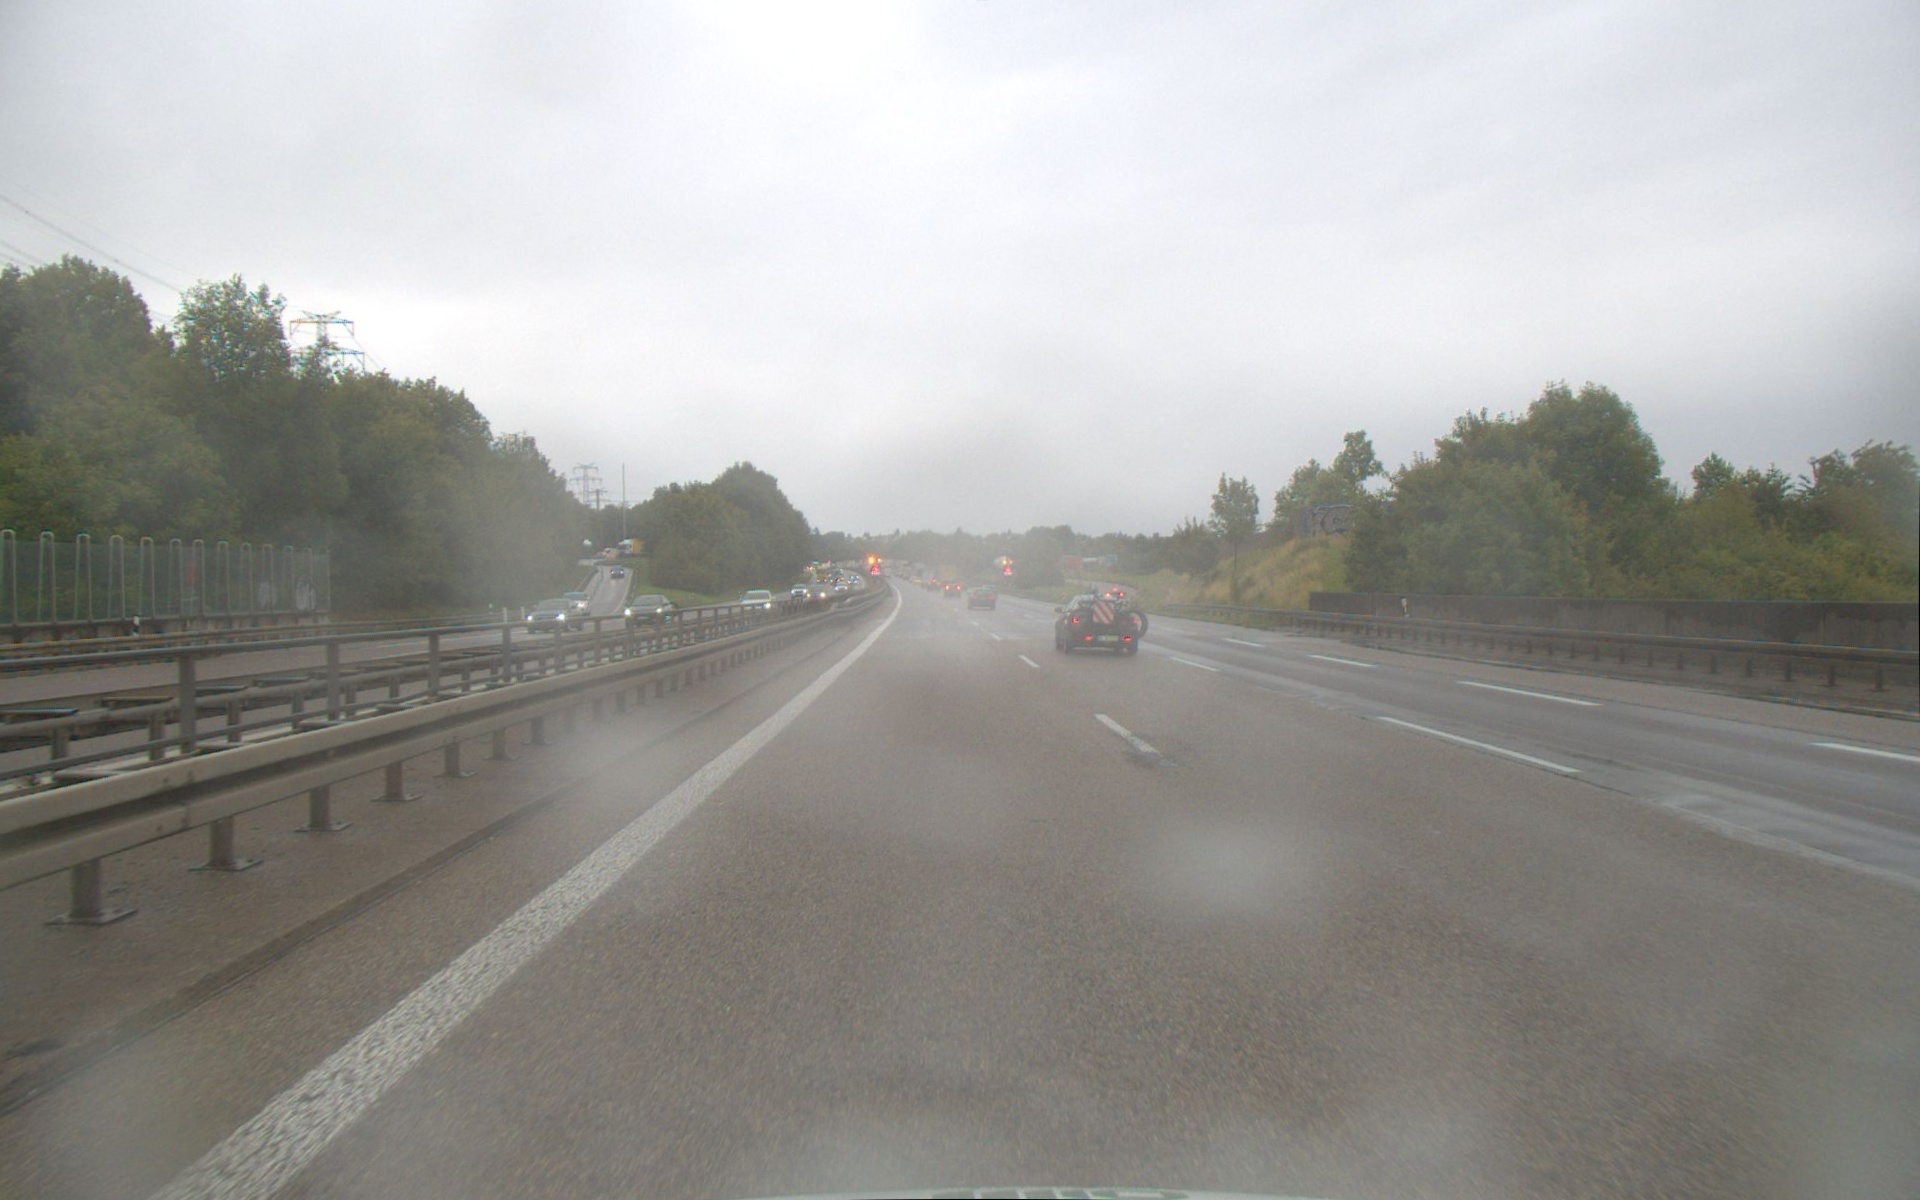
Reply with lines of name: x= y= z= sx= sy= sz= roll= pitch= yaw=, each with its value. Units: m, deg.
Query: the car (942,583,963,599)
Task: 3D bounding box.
car: x=-0.824 y=-1.021 z=178.646 sx=1.954 sy=1.657 sz=3.998 roll=-1 pitch=1 yaw=-3

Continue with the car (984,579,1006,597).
car: x=3.690 y=-1.241 z=173.853 sx=1.954 sy=1.791 sz=3.998 roll=-1 pitch=1 yaw=-3

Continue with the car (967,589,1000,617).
car: x=1.578 y=0.177 z=111.337 sx=1.954 sy=1.791 sz=3.998 roll=-1 pitch=1 yaw=-3

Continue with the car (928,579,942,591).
car: x=-3.678 y=-2.260 z=243.665 sx=1.954 sy=1.657 sz=3.998 roll=-1 pitch=1 yaw=-3

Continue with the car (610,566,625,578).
car: x=-48.038 y=-3.911 z=231.914 sx=1.935 sy=1.570 sz=3.984 roll=-1 pitch=1 yaw=-15

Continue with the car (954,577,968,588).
car: x=0.105 y=-2.724 z=254.903 sx=1.954 sy=1.657 sz=3.998 roll=-1 pitch=1 yaw=-3

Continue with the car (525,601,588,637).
car: x=-17.537 y=0.793 z=72.088 sx=1.779 sy=1.413 sz=4.088 roll=-2 pitch=0 yaw=-1

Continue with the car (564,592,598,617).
car: x=-26.489 y=0.322 z=115.614 sx=1.956 sy=1.699 sz=3.992 roll=-1 pitch=0 yaw=-8

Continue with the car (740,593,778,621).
car: x=-11.026 y=0.366 z=90.973 sx=1.623 sy=1.462 sz=4.088 roll=-2 pitch=0 yaw=-1

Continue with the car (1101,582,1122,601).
car: x=14.490 y=-0.791 z=158.061 sx=1.882 sy=1.739 sz=4.002 roll=-1 pitch=1 yaw=4

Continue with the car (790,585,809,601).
car: x=-18.473 y=-0.827 z=190.843 sx=1.866 sy=1.694 sz=4.712 roll=-1 pitch=0 yaw=-2

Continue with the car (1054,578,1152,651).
car: x=3.535 y=0.350 z=41.746 sx=2.015 sy=1.700 sz=5.522 roll=1 pitch=0 yaw=0

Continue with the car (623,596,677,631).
car: x=-14.245 y=0.590 z=76.161 sx=1.779 sy=1.462 sz=4.088 roll=-2 pitch=0 yaw=-1
